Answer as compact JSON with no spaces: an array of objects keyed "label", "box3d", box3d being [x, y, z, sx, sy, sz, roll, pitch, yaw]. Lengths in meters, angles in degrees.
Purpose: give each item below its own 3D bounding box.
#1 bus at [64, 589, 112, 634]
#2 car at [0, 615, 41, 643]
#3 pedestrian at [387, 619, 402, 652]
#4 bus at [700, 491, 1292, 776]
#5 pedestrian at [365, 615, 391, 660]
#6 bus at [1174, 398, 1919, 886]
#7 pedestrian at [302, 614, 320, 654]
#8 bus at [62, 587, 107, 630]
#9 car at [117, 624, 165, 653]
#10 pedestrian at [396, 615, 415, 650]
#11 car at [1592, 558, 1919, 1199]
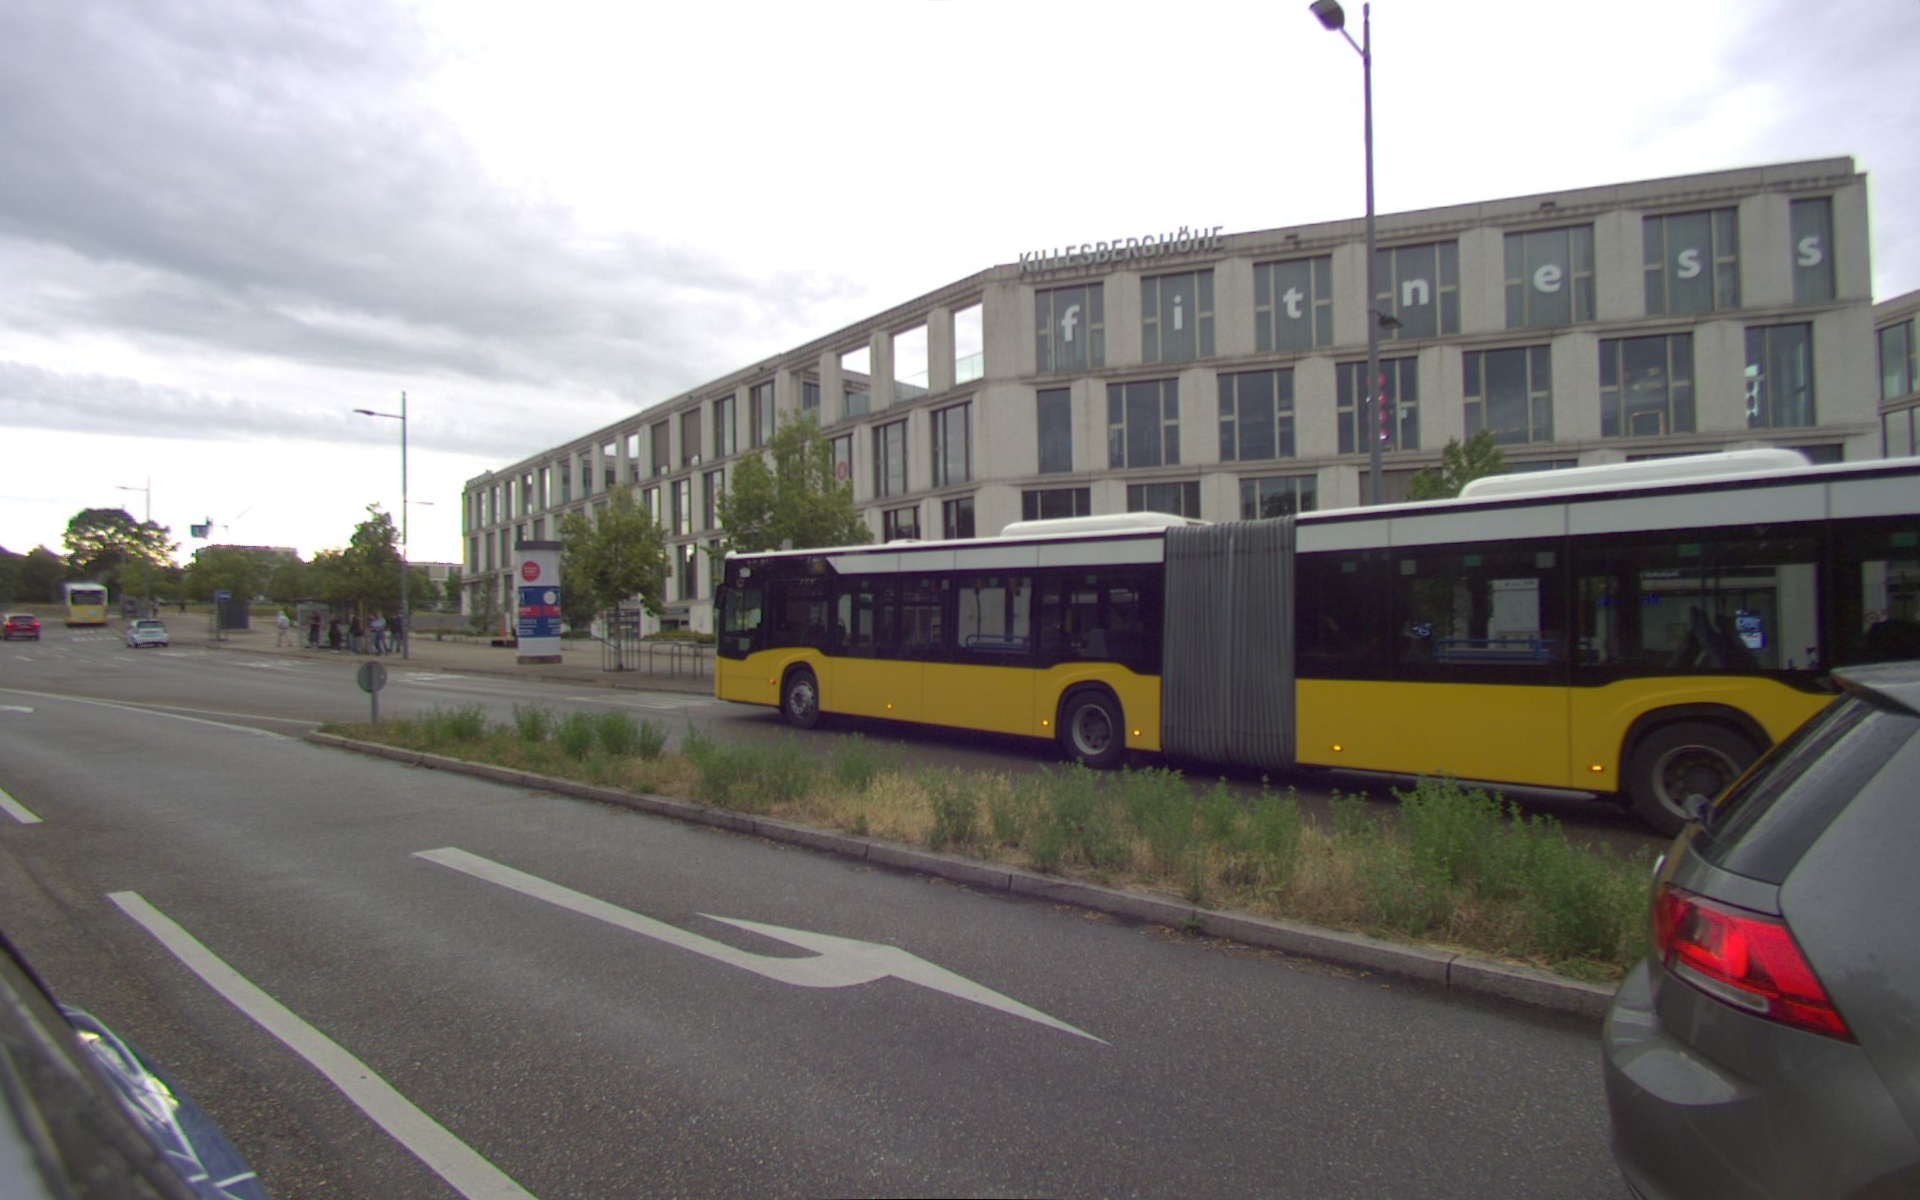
[{"label":"bus","box3d":[-72.575,0.854,84.182,2.787,3.498,8.241,-1,2,-42]},{"label":"car","box3d":[-60.903,1.864,65.208,4.734,1.696,1.834,-1,-3,41]},{"label":"pedestrian","box3d":[-25.488,1.606,45.590,0.509,1.462,0.422,-1,-1,41]},{"label":"bus","box3d":[-0.149,0.463,15.574,9.761,3.127,2.855,-1,-2,45]},{"label":"pedestrian","box3d":[-24.269,1.558,42.229,0.746,1.856,0.745,-1,-1,43]},{"label":"bus","box3d":[6.397,0.326,9.093,8.579,3.333,2.855,-1,-2,45]},{"label":"pedestrian","box3d":[-30.549,1.612,47.621,0.755,1.856,0.502,-1,-1,40]},{"label":"bus","box3d":[-78.673,0.675,90.872,2.787,3.498,9.987,-1,2,-42]},{"label":"car","box3d":[-46.334,2.160,57.246,2.970,1.519,1.597,0,1,40]},{"label":"pedestrian","box3d":[-28.787,1.673,52.523,0.857,1.775,0.592,-1,-1,43]},{"label":"car","box3d":[3.217,0.672,0.969,4.196,1.441,1.786,-1,-3,42]}]
